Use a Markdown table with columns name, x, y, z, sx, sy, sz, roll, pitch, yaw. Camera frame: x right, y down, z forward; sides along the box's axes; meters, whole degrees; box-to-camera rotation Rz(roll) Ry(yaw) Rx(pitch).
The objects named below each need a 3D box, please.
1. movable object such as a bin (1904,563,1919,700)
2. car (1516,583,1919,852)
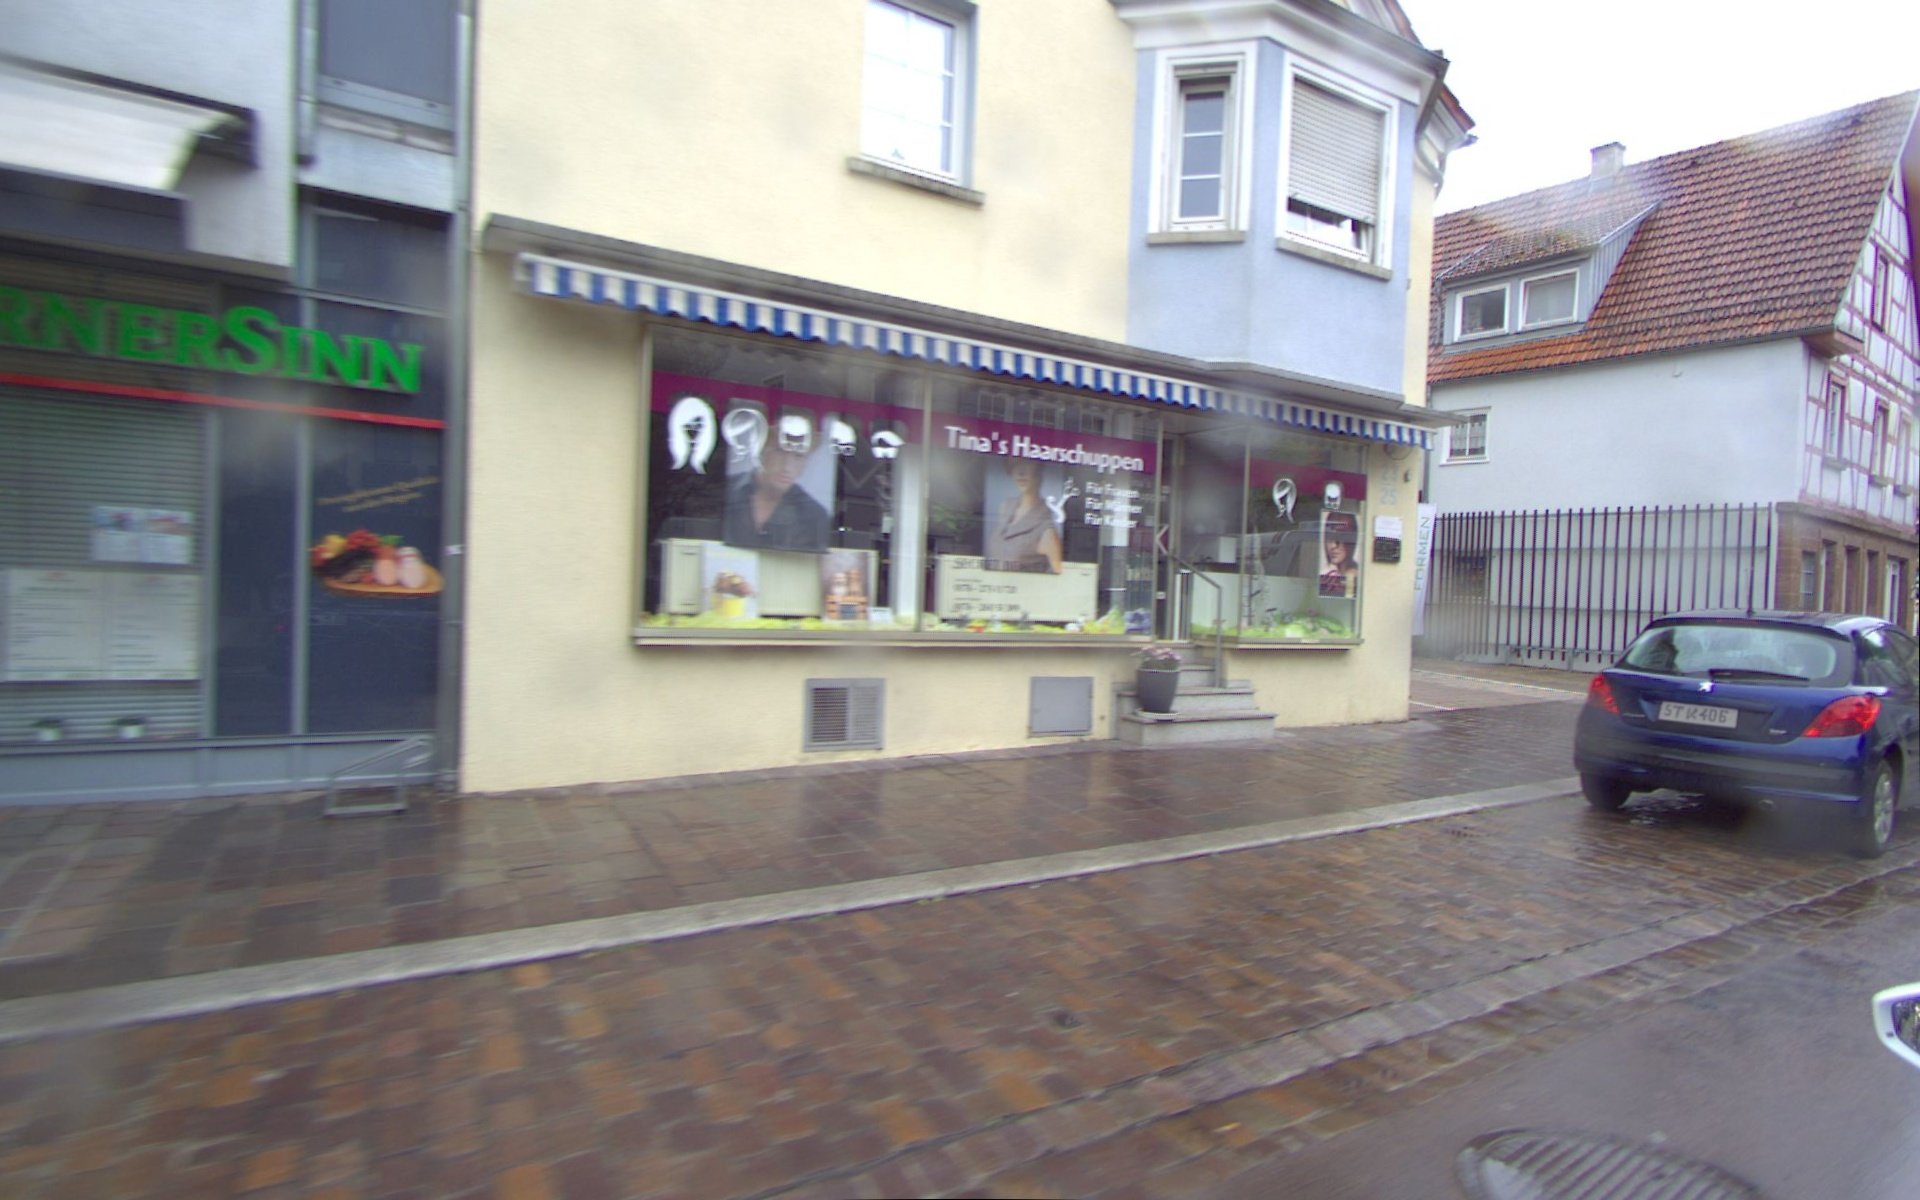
| name | x | y | z | sx | sy | sz | roll | pitch | yaw |
| --- | --- | --- | --- | --- | --- | --- | --- | --- | --- |
| movable object such as a bin | 14.650 | 0.486 | 15.022 | 0.740 | 2.040 | 0.625 | 2 | 0 | -38 |
| car | 6.269 | 0.687 | 7.703 | 3.961 | 1.492 | 1.980 | 1 | 2 | -36 |
